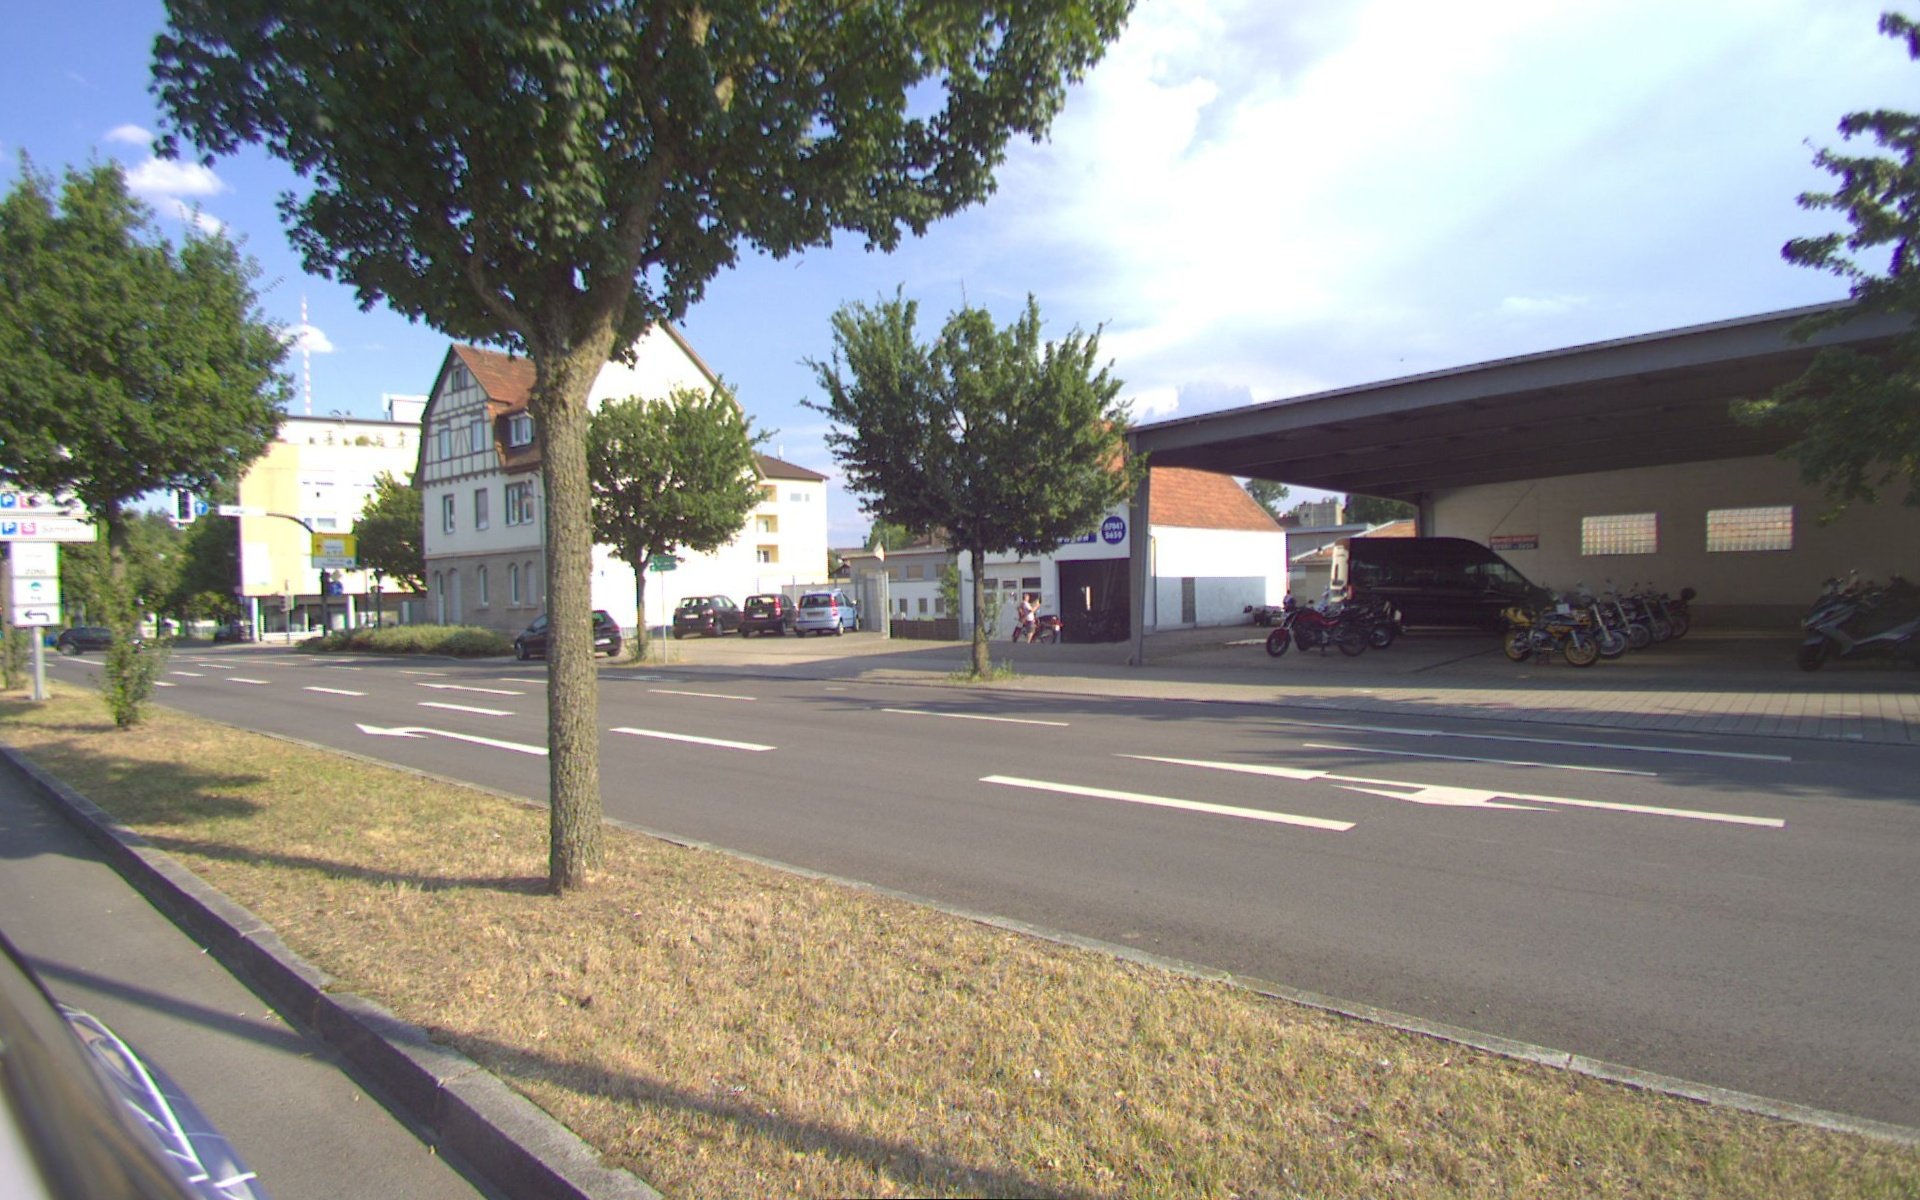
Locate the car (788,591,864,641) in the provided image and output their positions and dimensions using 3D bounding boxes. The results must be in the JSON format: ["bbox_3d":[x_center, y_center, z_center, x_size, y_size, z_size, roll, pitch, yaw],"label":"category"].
[{"bbox_3d":[-4.654,0.519,35.655,1.797,1.512,3.819,-3,2,5],"label":"car"}]

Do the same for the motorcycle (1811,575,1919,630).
[{"bbox_3d":[23.763,0.068,26.500,2.103,1.306,0.628,-3,-1,17],"label":"motorcycle"}]

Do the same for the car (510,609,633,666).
[{"bbox_3d":[-11.571,1.081,30.054,3.823,1.462,1.795,-1,2,42],"label":"car"}]

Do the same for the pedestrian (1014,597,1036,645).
[{"bbox_3d":[2.101,0.674,32.743,0.485,1.530,0.496,-1,0,41],"label":"pedestrian"}]

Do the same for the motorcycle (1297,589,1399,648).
[{"bbox_3d":[9.408,0.450,24.586,2.198,1.372,0.630,-1,0,5],"label":"motorcycle"}]

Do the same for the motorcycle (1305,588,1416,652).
[{"bbox_3d":[8.985,0.449,22.782,2.198,1.372,0.630,-1,0,5],"label":"motorcycle"}]

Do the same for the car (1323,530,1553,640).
[{"bbox_3d":[12.894,-0.381,27.607,5.221,2.773,1.996,-1,0,7],"label":"car"}]

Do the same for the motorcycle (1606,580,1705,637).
[{"bbox_3d":[17.319,0.216,25.282,0.621,1.347,2.269,-1,0,-9],"label":"motorcycle"}]

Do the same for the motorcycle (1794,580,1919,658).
[{"bbox_3d":[16.560,0.338,18.327,2.103,1.306,0.628,-3,-1,17],"label":"motorcycle"}]

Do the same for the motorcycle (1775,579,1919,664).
[{"bbox_3d":[14.942,0.360,16.755,2.103,1.306,0.628,-3,-1,17],"label":"motorcycle"}]

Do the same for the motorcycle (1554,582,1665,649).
[{"bbox_3d":[13.893,0.322,21.748,0.621,1.347,2.269,-1,0,-9],"label":"motorcycle"}]

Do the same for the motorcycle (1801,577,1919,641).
[{"bbox_3d":[20.257,0.203,22.623,2.103,1.306,0.628,-3,-1,17],"label":"motorcycle"}]

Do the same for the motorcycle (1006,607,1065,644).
[{"bbox_3d":[2.462,0.837,33.189,1.974,1.194,0.577,-1,0,41],"label":"motorcycle"}]

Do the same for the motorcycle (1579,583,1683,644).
[{"bbox_3d":[15.566,0.299,23.558,0.621,1.347,2.269,-1,0,-9],"label":"motorcycle"}]

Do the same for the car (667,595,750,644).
[{"bbox_3d":[-9.294,0.690,37.677,1.797,1.512,3.819,-3,2,5],"label":"car"}]

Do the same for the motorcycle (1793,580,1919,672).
[{"bbox_3d":[13.890,0.374,15.094,2.103,1.306,0.628,-3,-1,17],"label":"motorcycle"}]

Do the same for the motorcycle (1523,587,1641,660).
[{"bbox_3d":[12.187,0.436,19.935,0.621,1.347,2.269,-1,0,-9],"label":"motorcycle"}]

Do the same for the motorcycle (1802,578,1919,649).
[{"bbox_3d":[18.074,0.267,19.967,2.103,1.306,0.628,-3,-1,17],"label":"motorcycle"}]

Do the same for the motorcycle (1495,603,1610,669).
[{"bbox_3d":[10.560,0.618,18.130,0.621,1.095,2.038,-1,0,-7],"label":"motorcycle"}]

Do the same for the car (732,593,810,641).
[{"bbox_3d":[-6.893,0.585,37.285,1.797,1.512,3.819,-3,2,5],"label":"car"}]

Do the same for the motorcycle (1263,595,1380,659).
[{"bbox_3d":[7.525,0.560,21.138,2.202,1.290,0.629,-1,0,11],"label":"motorcycle"}]

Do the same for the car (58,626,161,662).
[{"bbox_3d":[-43.617,2.227,52.018,3.934,1.644,1.865,-1,0,-36],"label":"car"}]

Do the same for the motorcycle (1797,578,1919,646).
[{"bbox_3d":[19.063,0.253,21.268,2.103,1.306,0.628,-3,-1,17],"label":"motorcycle"}]

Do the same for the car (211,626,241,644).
[{"bbox_3d":[-74.090,3.537,102.195,1.752,1.706,4.013,-1,0,-25],"label":"car"}]
